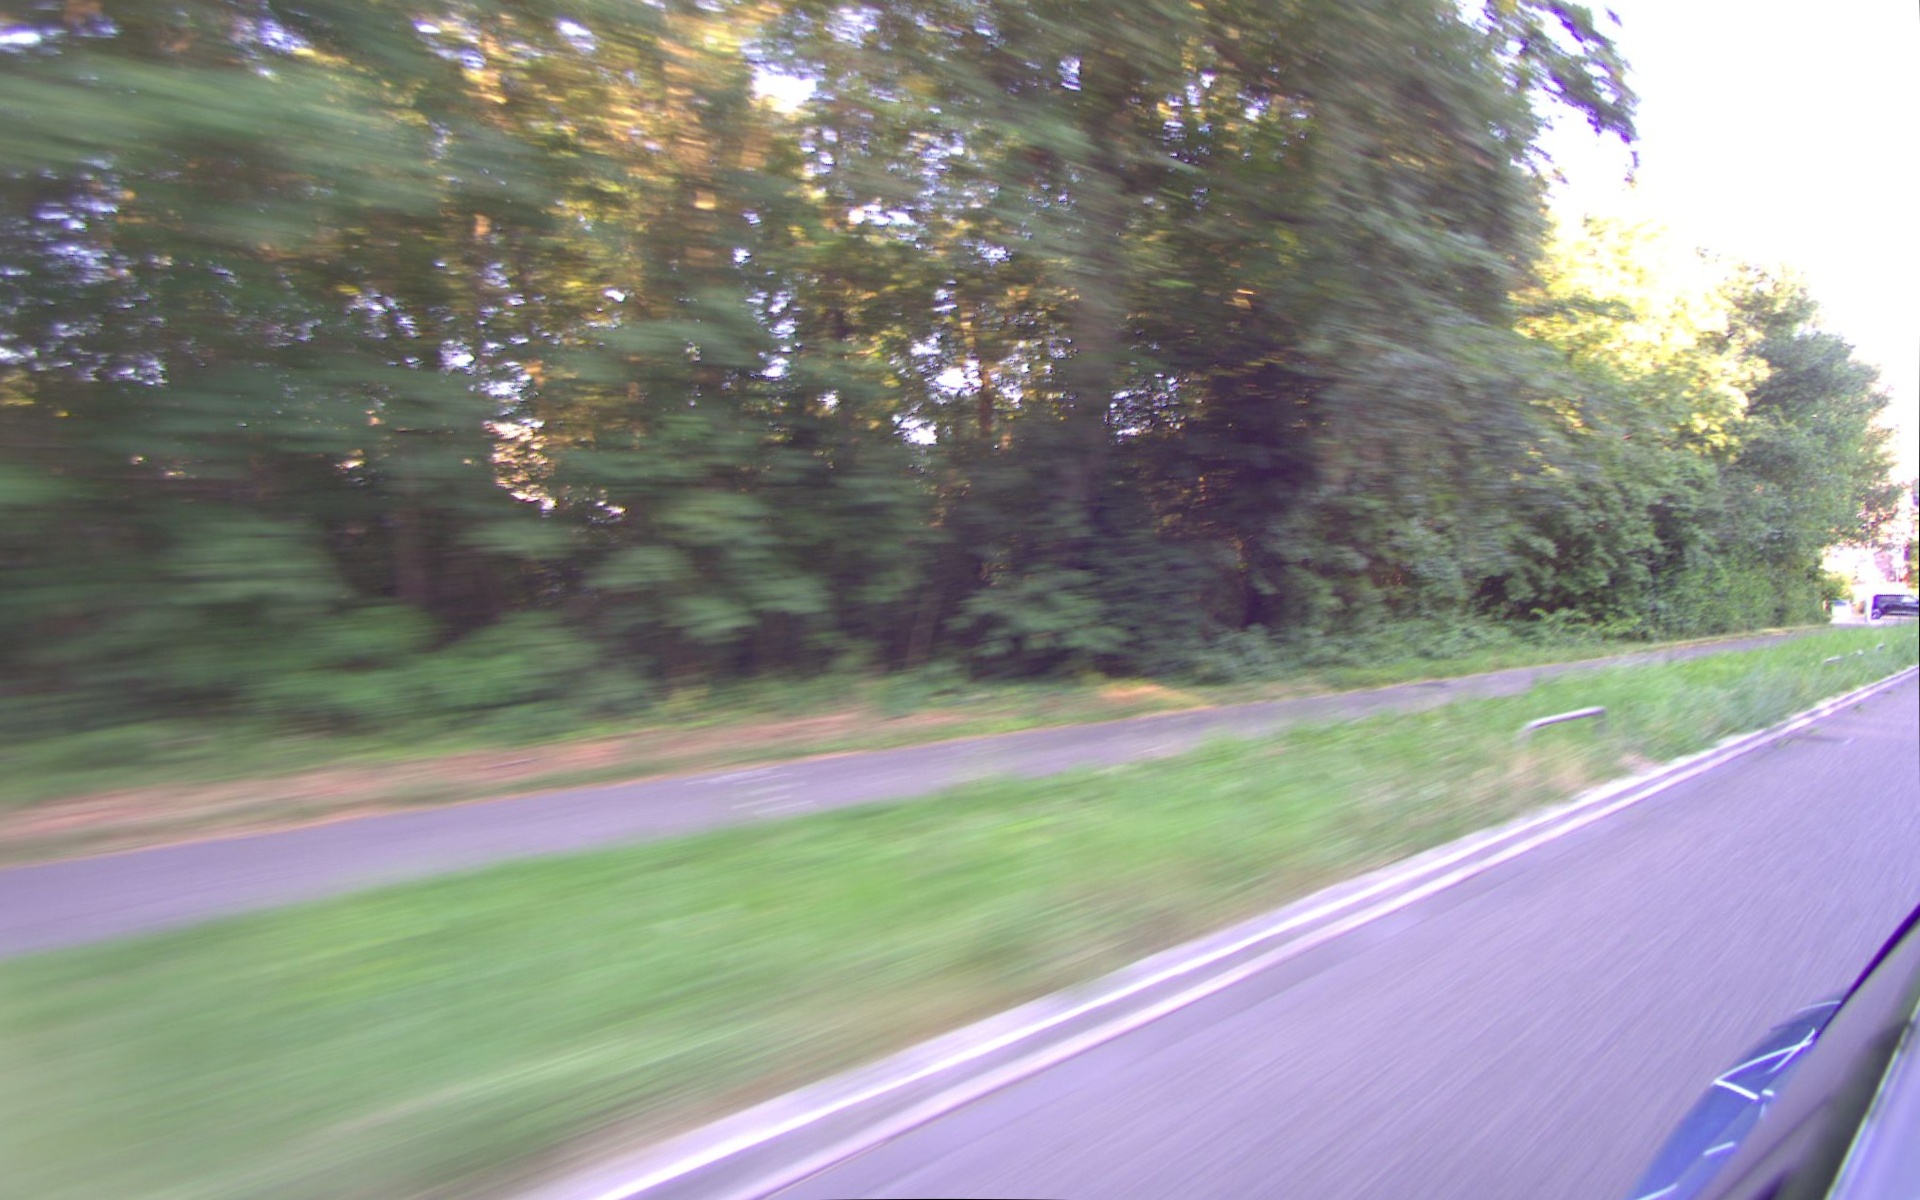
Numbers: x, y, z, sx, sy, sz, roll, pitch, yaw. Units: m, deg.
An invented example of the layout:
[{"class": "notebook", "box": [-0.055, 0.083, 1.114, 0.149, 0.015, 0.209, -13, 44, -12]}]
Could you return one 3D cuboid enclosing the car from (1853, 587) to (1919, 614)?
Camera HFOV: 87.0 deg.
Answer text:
[{"class": "car", "box": [56.171, 0.010, 60.520, 1.655, 1.555, 3.993, 0, 1, -42]}]
